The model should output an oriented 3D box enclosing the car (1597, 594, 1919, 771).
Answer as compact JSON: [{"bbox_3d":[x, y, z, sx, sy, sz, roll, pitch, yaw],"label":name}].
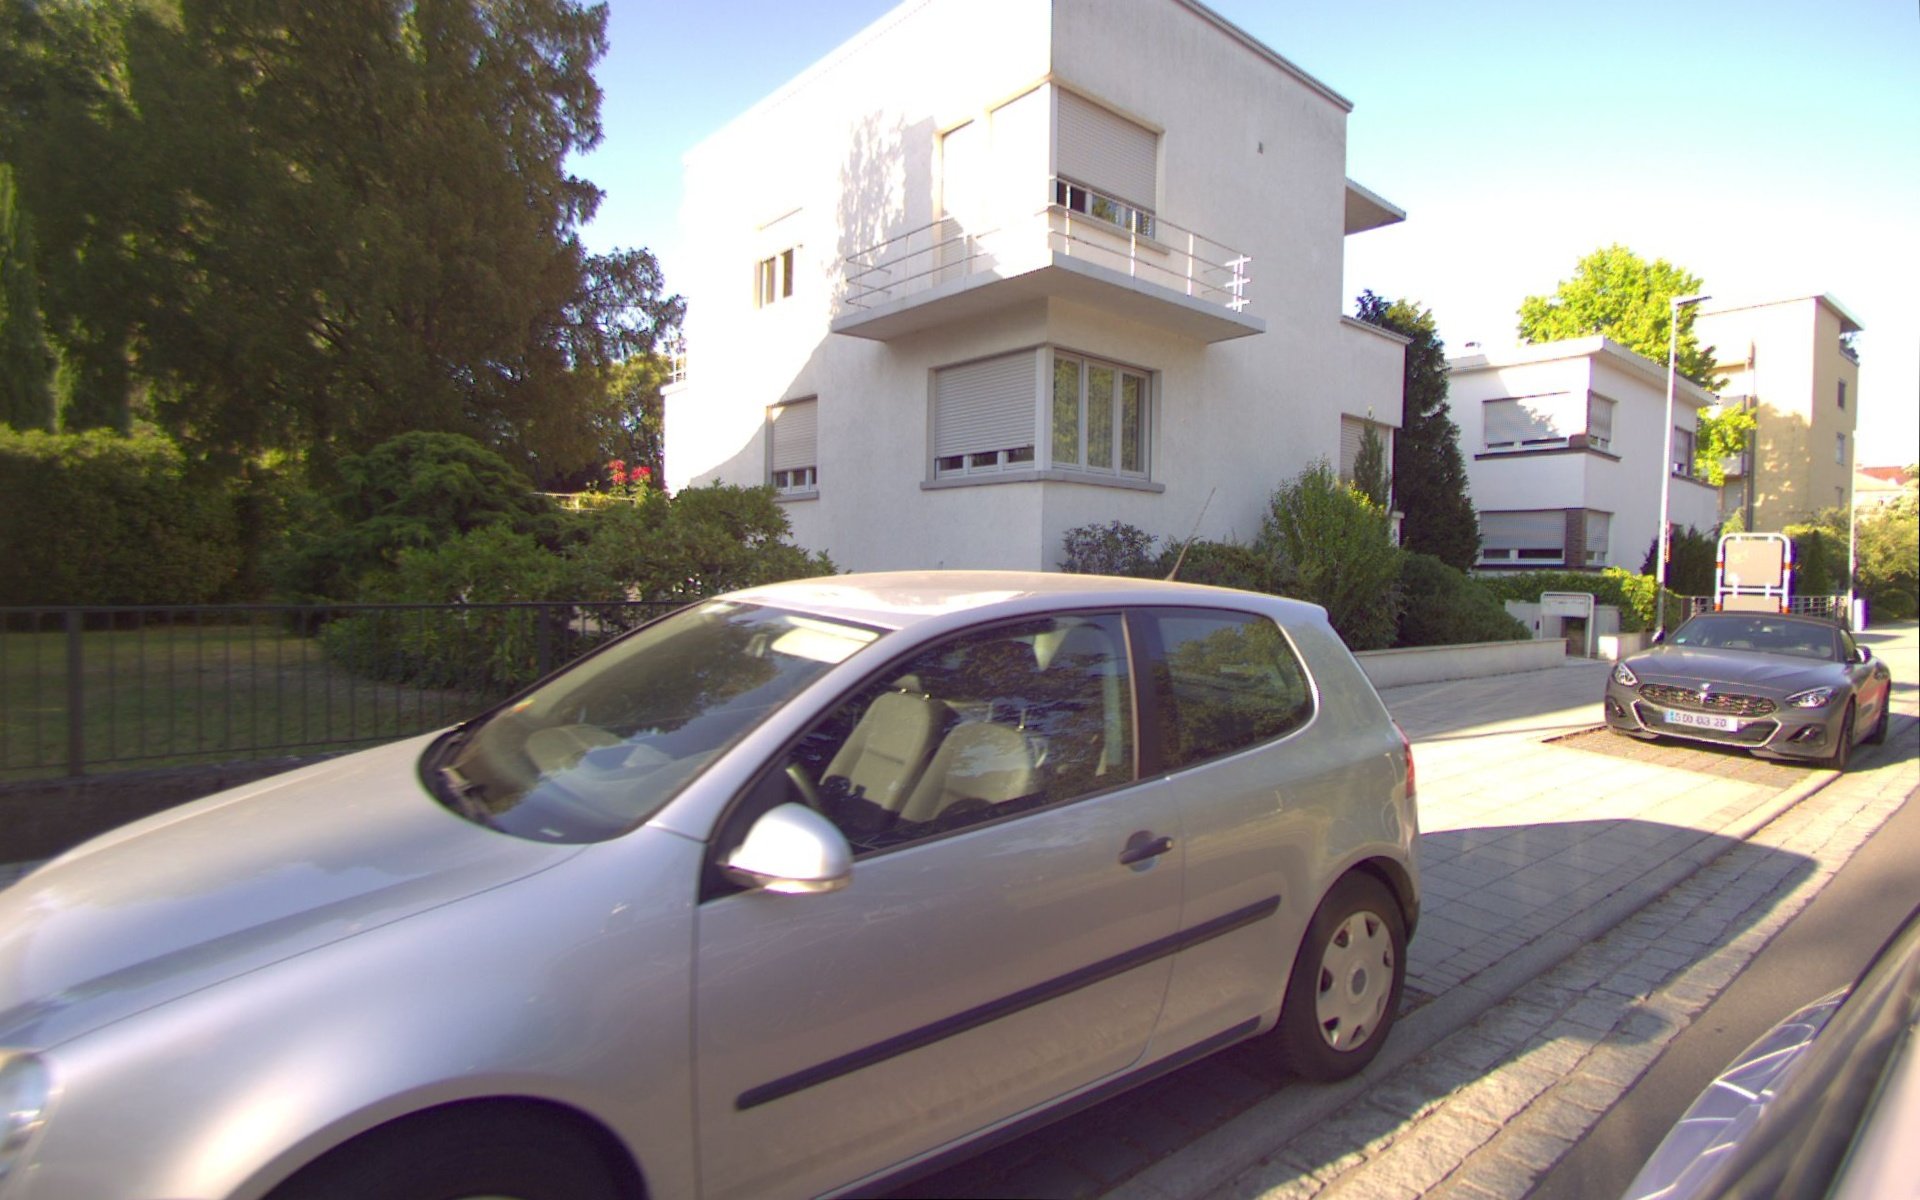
[{"bbox_3d":[8.215,0.677,10.238,4.197,1.304,1.779,1,4,-41],"label":"car"}]

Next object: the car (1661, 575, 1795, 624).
[{"bbox_3d":[27.655,-0.055,36.540,1.611,1.662,3.507,0,2,-33],"label":"car"}]

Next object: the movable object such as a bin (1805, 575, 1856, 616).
[{"bbox_3d":[31.893,-0.175,37.081,1.103,1.450,1.240,0,1,-39],"label":"movable object such as a bin"}]

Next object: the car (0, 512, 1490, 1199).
[{"bbox_3d":[-0.419,0.602,2.861,3.847,1.491,1.751,0,4,-35],"label":"car"}]
